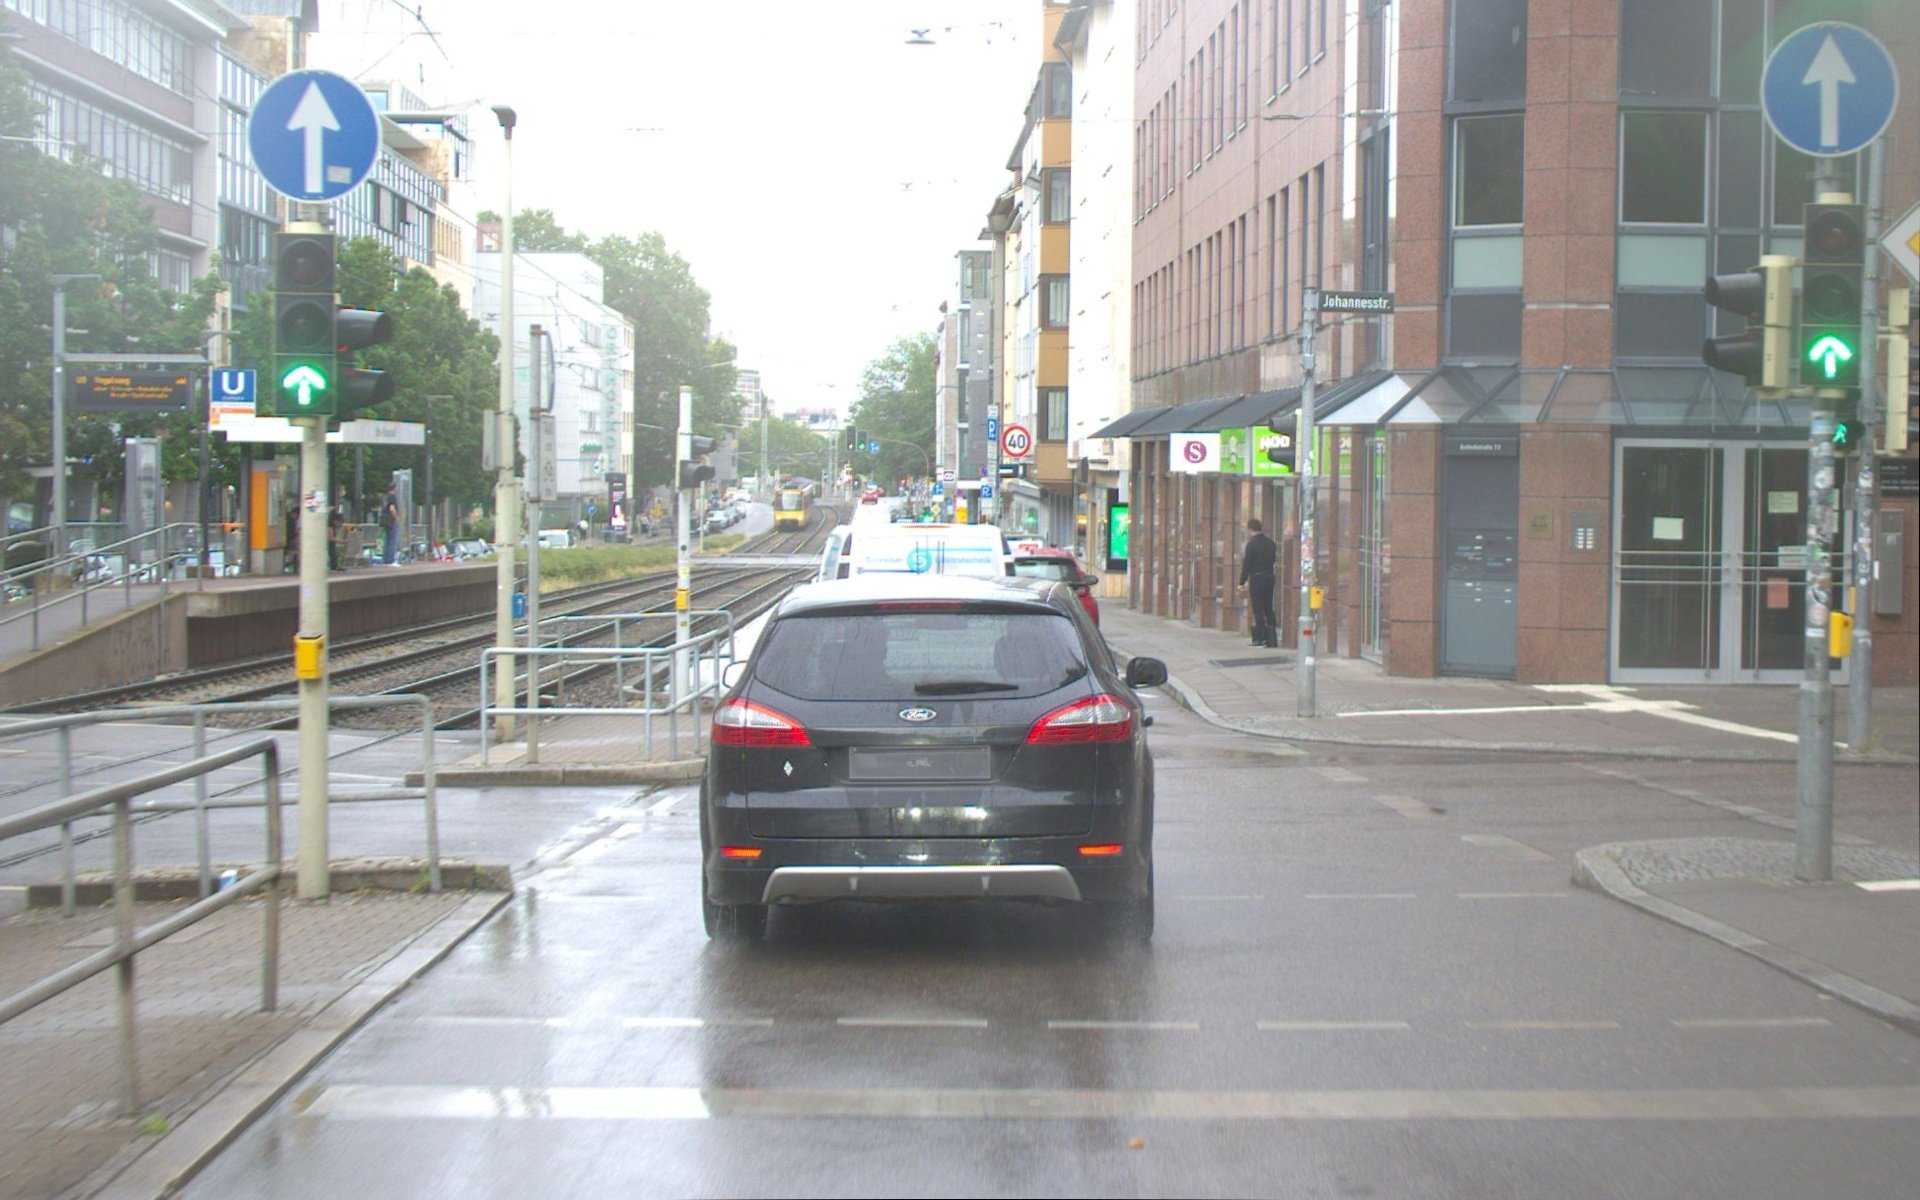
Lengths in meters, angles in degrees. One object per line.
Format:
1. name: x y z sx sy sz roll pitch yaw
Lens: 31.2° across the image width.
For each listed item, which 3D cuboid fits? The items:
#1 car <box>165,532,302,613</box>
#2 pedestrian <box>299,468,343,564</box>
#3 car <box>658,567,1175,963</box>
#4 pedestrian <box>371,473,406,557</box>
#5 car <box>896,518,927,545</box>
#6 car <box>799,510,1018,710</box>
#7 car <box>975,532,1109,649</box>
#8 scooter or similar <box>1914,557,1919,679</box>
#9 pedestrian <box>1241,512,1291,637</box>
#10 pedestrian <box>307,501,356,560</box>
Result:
1. car: -14.810 -0.593 70.326 1.807 1.572 5.021 0 1 -1
2. pedestrian: -11.378 -1.499 61.230 0.655 1.705 0.850 0 1 -3
3. car: -0.188 0.596 14.417 1.906 1.457 3.445 0 1 -1
4. pedestrian: -12.399 -1.842 74.600 0.655 1.795 0.850 0 1 -3
5. car: -3.079 -4.343 218.356 1.906 1.628 4.574 0 1 0
6. car: -0.582 0.070 34.340 1.906 1.858 4.574 0 1 -4
7. car: 1.094 -0.148 47.327 1.698 1.474 3.867 -2 1 0
8. scooter or similar: 10.251 0.176 34.279 1.374 1.223 0.325 0 0 2
9. pedestrian: 4.097 -0.342 46.057 0.601 1.653 0.625 0 0 -1
10. pedestrian: -12.018 -1.327 65.722 0.892 1.119 0.850 0 1 -12
